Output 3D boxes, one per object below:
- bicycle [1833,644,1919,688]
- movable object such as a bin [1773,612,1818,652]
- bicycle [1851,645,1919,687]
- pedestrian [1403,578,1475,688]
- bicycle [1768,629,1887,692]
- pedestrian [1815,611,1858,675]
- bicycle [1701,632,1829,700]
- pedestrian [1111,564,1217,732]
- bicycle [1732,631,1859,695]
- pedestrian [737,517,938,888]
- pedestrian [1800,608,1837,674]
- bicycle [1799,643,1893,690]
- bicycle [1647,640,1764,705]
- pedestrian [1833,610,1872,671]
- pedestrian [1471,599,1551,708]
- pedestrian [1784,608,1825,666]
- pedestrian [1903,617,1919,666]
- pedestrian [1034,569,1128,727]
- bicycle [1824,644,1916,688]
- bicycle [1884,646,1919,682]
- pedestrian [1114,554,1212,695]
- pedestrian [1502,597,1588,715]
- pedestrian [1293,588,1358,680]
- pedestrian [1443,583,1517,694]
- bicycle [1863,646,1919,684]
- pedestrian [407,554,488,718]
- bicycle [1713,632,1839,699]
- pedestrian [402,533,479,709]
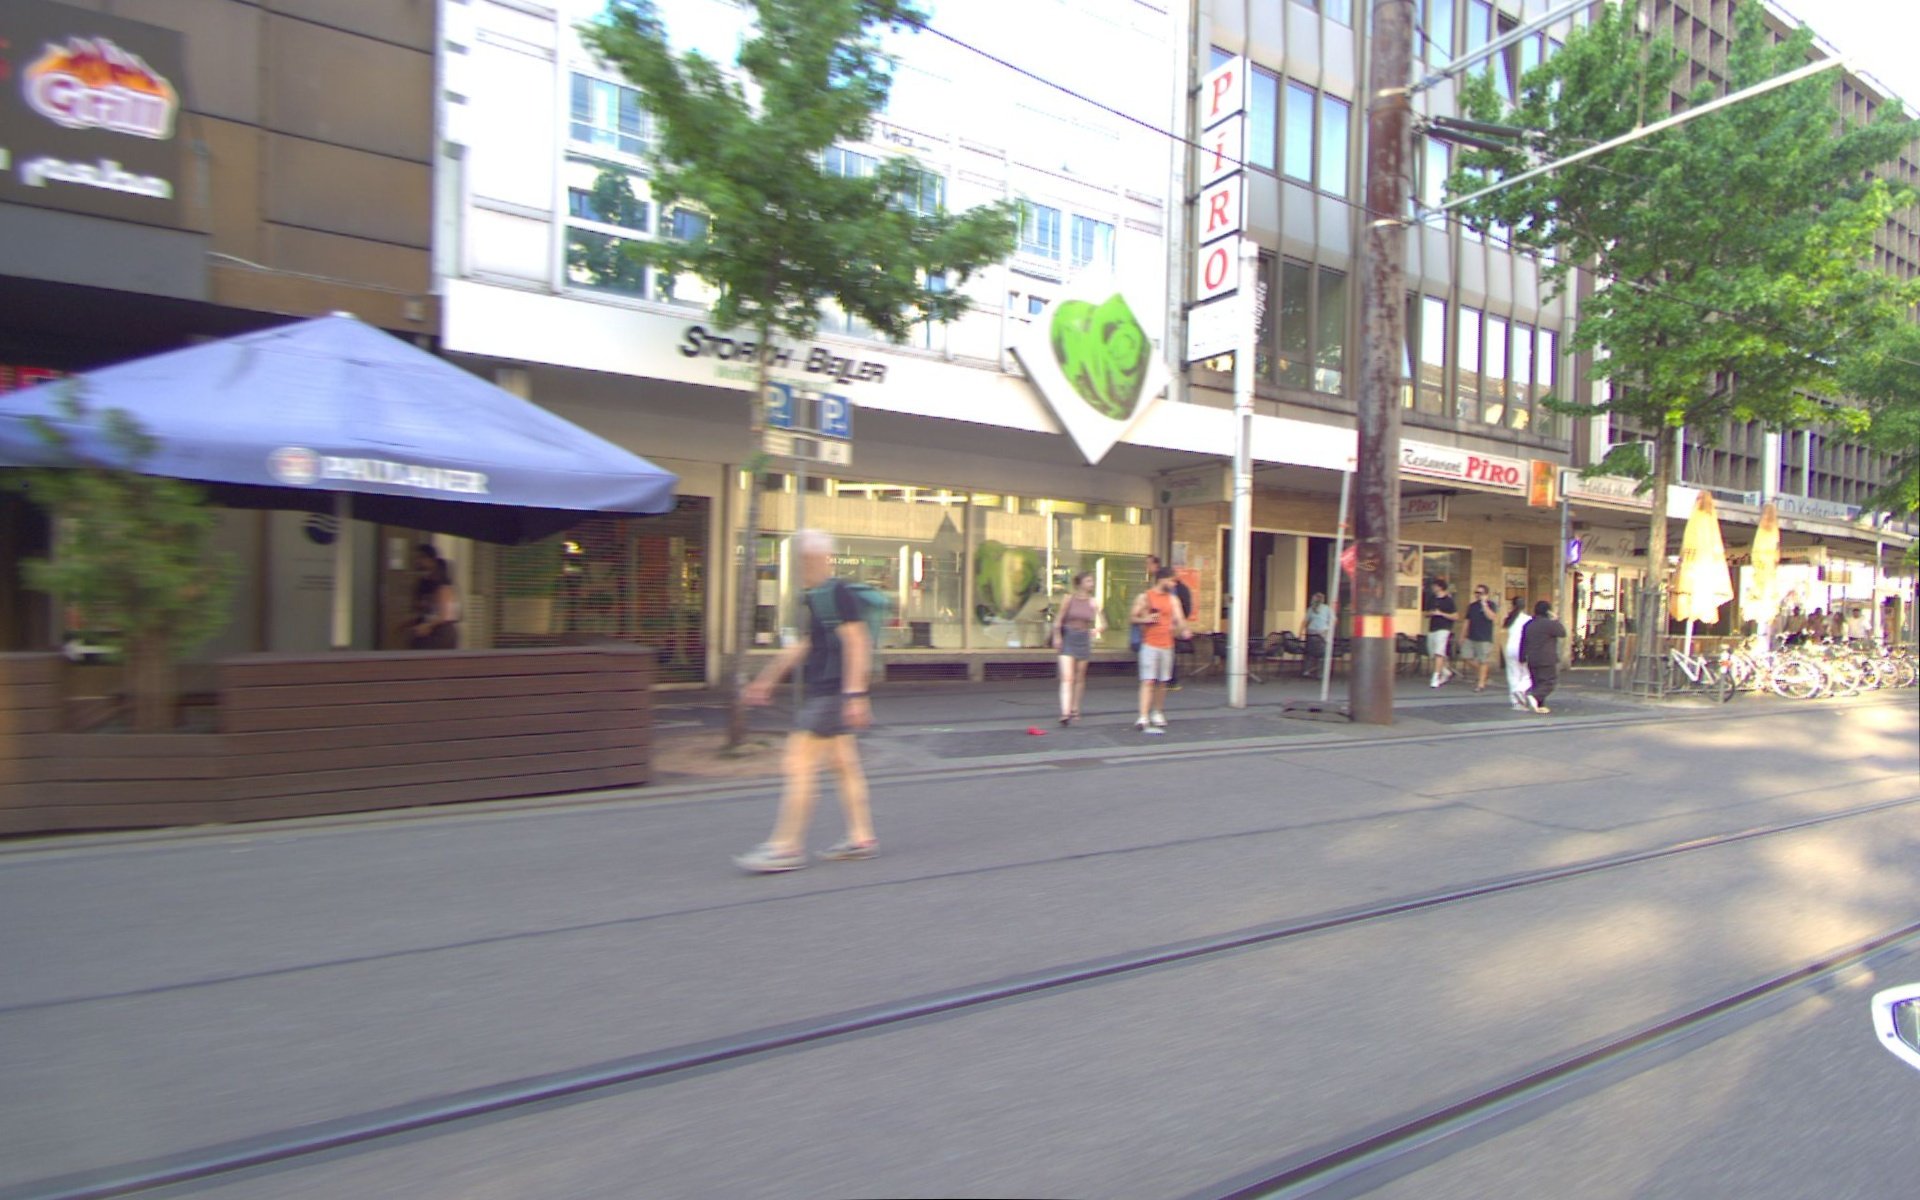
[{"bbox_3d":[20.838,1.480,22.794,0.340,0.852,1.486,1,1,-28],"label":"bicycle"},{"bbox_3d":[22.469,0.855,27.023,0.972,1.053,0.709,1,0,-37],"label":"movable object such as a bin"},{"bbox_3d":[21.416,1.501,22.985,0.340,0.852,1.486,1,1,-28],"label":"bicycle"},{"bbox_3d":[8.272,0.562,17.347,0.922,1.828,0.619,1,3,-30],"label":"pedestrian"},{"bbox_3d":[18.255,1.252,21.188,0.372,1.156,1.838,1,1,-28],"label":"bicycle"},{"bbox_3d":[23.430,1.141,26.854,0.678,1.661,0.709,1,0,-36],"label":"pedestrian"},{"bbox_3d":[14.899,1.197,18.642,0.373,1.092,1.777,1,2,-34],"label":"bicycle"},{"bbox_3d":[2.226,0.502,11.067,0.820,1.764,0.850,2,2,-10],"label":"pedestrian"},{"bbox_3d":[16.278,1.209,19.619,0.373,1.092,1.835,1,1,-34],"label":"bicycle"},{"bbox_3d":[-0.689,0.498,5.483,0.781,1.825,0.837,1,2,-29],"label":"pedestrian"},{"bbox_3d":[24.128,1.143,28.233,0.704,1.790,0.682,1,0,35],"label":"pedestrian"},{"bbox_3d":[19.337,1.428,21.947,0.341,0.888,1.482,1,2,-36],"label":"bicycle"},{"bbox_3d":[12.634,1.211,17.072,0.372,0.943,1.591,1,1,-23],"label":"bicycle"},{"bbox_3d":[26.606,1.205,29.954,0.775,1.790,0.536,1,0,35],"label":"pedestrian"},{"bbox_3d":[8.133,0.777,14.828,0.823,1.529,0.619,1,3,-30],"label":"pedestrian"},{"bbox_3d":[23.129,1.003,27.507,0.678,1.568,0.709,1,0,-36],"label":"pedestrian"},{"bbox_3d":[35.066,1.520,36.623,0.771,1.785,0.811,1,0,-33],"label":"pedestrian"},{"bbox_3d":[1.319,0.508,11.101,0.748,1.660,0.850,2,2,-10],"label":"pedestrian"},{"bbox_3d":[20.492,1.468,22.640,0.340,0.852,1.486,1,1,-28],"label":"bicycle"},{"bbox_3d":[22.693,1.535,23.531,0.340,0.794,1.486,1,1,-28],"label":"bicycle"},{"bbox_3d":[2.925,0.332,14.520,1.060,1.949,0.795,1,3,-34],"label":"pedestrian"},{"bbox_3d":[8.159,0.765,14.012,0.842,1.571,0.619,1,3,-30],"label":"pedestrian"},{"bbox_3d":[6.386,0.585,17.558,0.800,1.546,0.619,1,3,-30],"label":"pedestrian"},{"bbox_3d":[8.648,0.626,16.704,0.922,1.771,0.619,1,3,-30],"label":"pedestrian"},{"bbox_3d":[22.045,1.523,23.365,0.340,0.794,1.486,1,1,-28],"label":"bicycle"},{"bbox_3d":[-5.087,0.339,9.963,0.663,1.553,0.594,1,2,-30],"label":"pedestrian"},{"bbox_3d":[15.305,1.201,18.897,0.373,1.092,1.777,1,2,-34],"label":"bicycle"},{"bbox_3d":[-5.416,0.208,10.468,0.663,1.769,0.594,1,2,-30],"label":"pedestrian"}]
